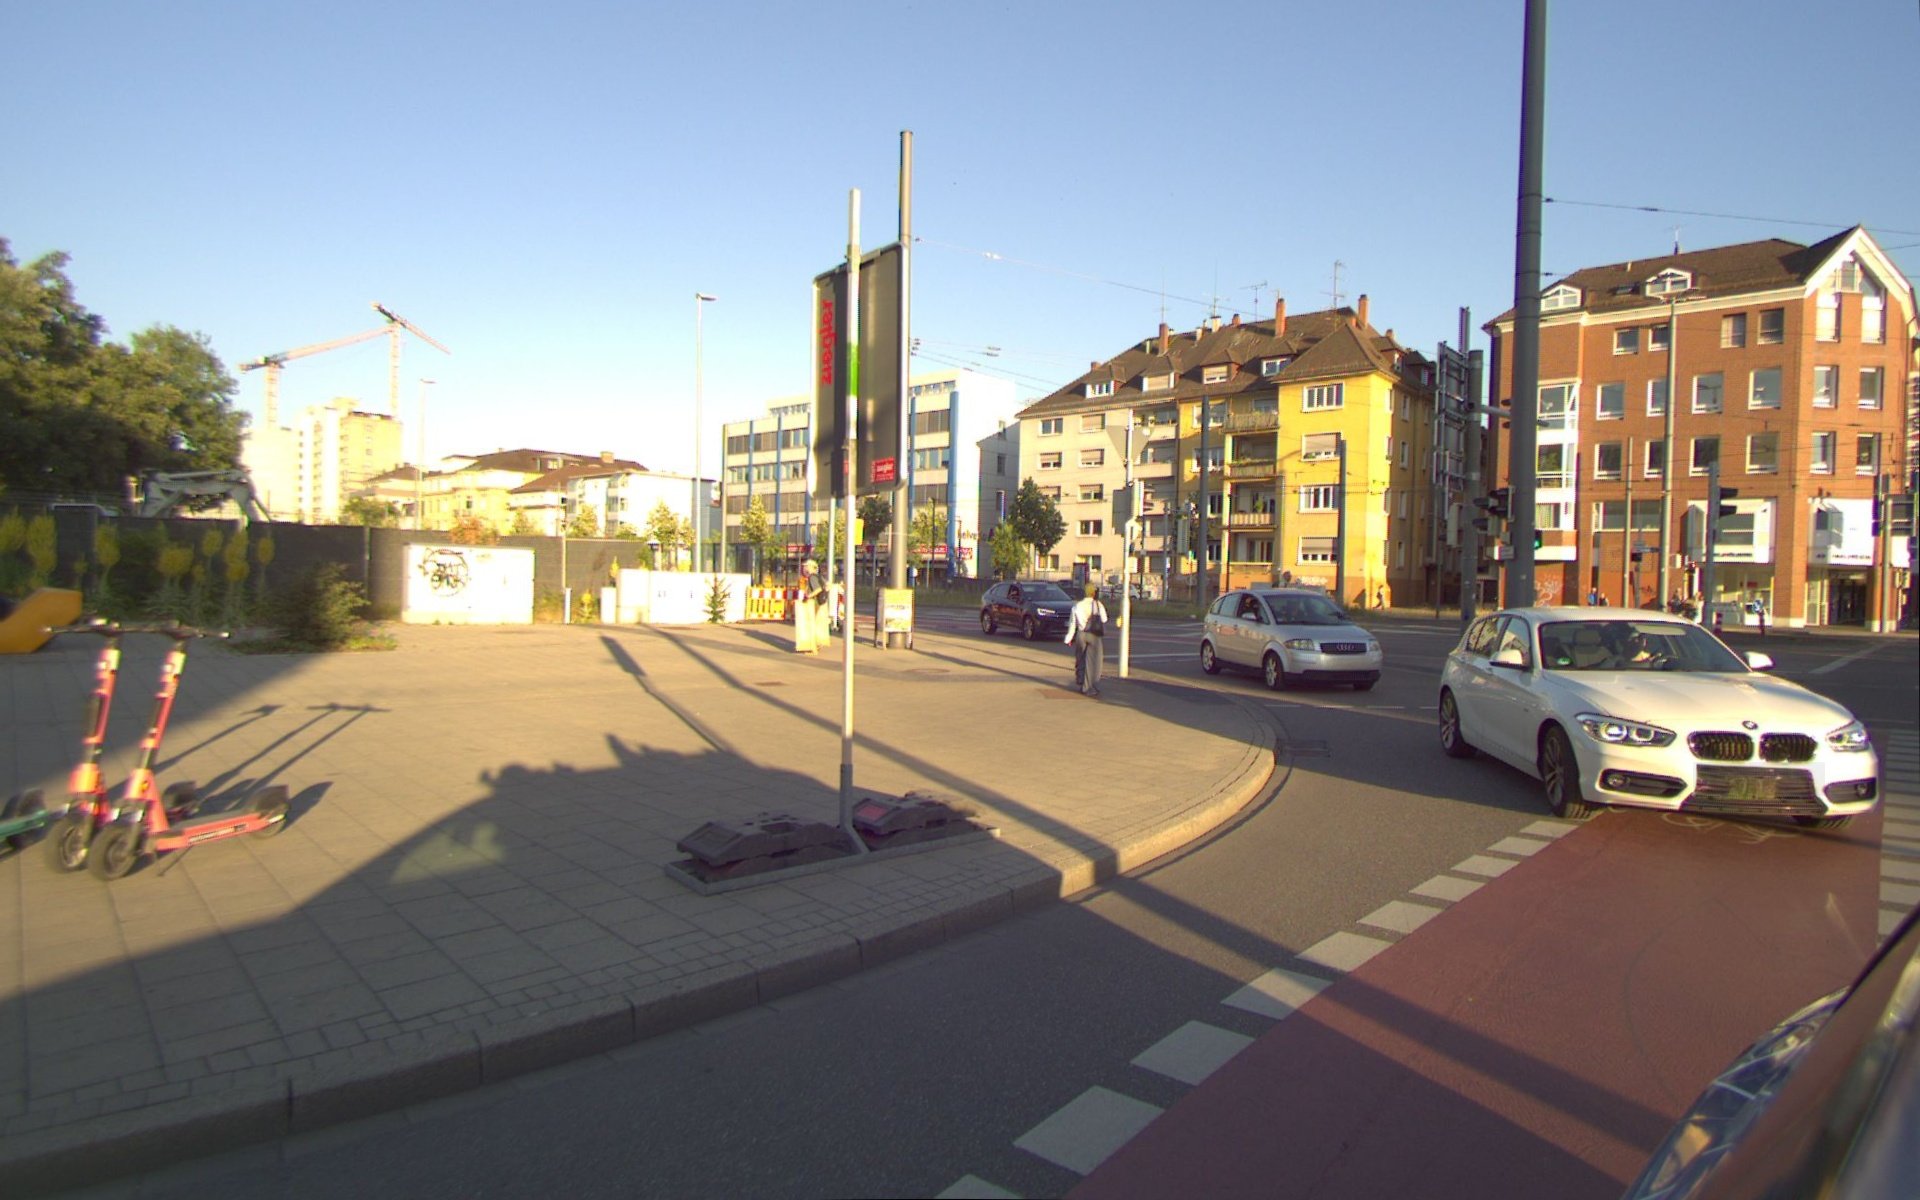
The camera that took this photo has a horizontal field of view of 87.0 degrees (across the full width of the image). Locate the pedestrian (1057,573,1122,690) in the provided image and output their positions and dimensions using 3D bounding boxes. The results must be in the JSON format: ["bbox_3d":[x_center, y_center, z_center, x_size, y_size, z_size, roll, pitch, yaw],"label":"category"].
[{"bbox_3d":[1.873,0.432,14.653,0.586,1.633,0.689,1,2,-39],"label":"pedestrian"}]

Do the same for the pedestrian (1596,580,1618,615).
[{"bbox_3d":[33.741,-0.150,52.804,0.868,1.800,0.905,2,2,38],"label":"pedestrian"}]

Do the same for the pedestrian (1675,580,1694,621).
[{"bbox_3d":[30.659,0.027,42.853,0.505,1.729,0.420,1,1,-27],"label":"pedestrian"}]

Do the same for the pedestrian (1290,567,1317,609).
[{"bbox_3d":[13.023,-0.446,38.375,0.693,1.560,0.638,0,2,-30],"label":"pedestrian"}]

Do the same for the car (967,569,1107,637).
[{"bbox_3d":[1.977,0.021,27.427,1.904,1.637,4.401,1,2,-24],"label":"car"}]

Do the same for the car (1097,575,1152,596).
[{"bbox_3d":[11.883,-1.056,73.054,3.529,1.437,1.714,3,2,41],"label":"car"}]

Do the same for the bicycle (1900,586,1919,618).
[{"bbox_3d":[55.219,0.150,56.972,1.051,1.747,3.301,0,2,-43],"label":"bicycle"}]

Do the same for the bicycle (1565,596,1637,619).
[{"bbox_3d":[33.053,0.361,52.193,3.047,1.030,0.919,3,2,37],"label":"bicycle"}]

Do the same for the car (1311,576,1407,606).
[{"bbox_3d":[22.393,-0.533,56.927,4.681,1.522,1.890,3,2,40],"label":"car"}]

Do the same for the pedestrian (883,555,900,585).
[{"bbox_3d":[-3.631,-1.594,53.763,0.556,1.610,0.689,1,2,-44],"label":"pedestrian"}]

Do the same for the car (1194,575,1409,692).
[{"bbox_3d":[5.352,0.434,16.392,1.646,1.580,3.735,-1,2,-11],"label":"car"}]

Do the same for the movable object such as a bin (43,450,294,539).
[{"bbox_3d":[-21.092,-2.757,27.227,4.918,2.038,2.005,1,2,-17],"label":"movable object such as a bin"}]

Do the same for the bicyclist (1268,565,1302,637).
[{"bbox_3d":[7.768,0.020,24.205,0.738,1.691,0.593,1,1,16],"label":"bicyclist"}]

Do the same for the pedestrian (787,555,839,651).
[{"bbox_3d":[-2.805,0.041,19.400,0.806,1.757,0.944,2,1,1],"label":"pedestrian"}]

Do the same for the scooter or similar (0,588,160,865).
[{"bbox_3d":[-4.839,0.604,4.999,0.600,1.275,1.528,1,2,-2],"label":"scooter or similar"}]

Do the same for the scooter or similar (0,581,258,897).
[{"bbox_3d":[-4.283,0.570,5.055,0.452,1.308,1.654,1,1,-2],"label":"scooter or similar"}]

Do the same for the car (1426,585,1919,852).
[{"bbox_3d":[5.310,0.657,8.094,1.887,1.423,4.291,1,2,11],"label":"car"}]

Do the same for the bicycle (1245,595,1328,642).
[{"bbox_3d":[7.779,0.428,24.195,1.822,1.035,0.593,2,1,17],"label":"bicycle"}]

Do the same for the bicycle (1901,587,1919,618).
[{"bbox_3d":[56.041,0.174,57.776,1.052,1.747,3.299,0,2,-45],"label":"bicycle"}]

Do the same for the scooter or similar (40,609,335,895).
[{"bbox_3d":[-3.789,0.670,5.097,0.452,1.180,1.405,1,2,-2],"label":"scooter or similar"}]
